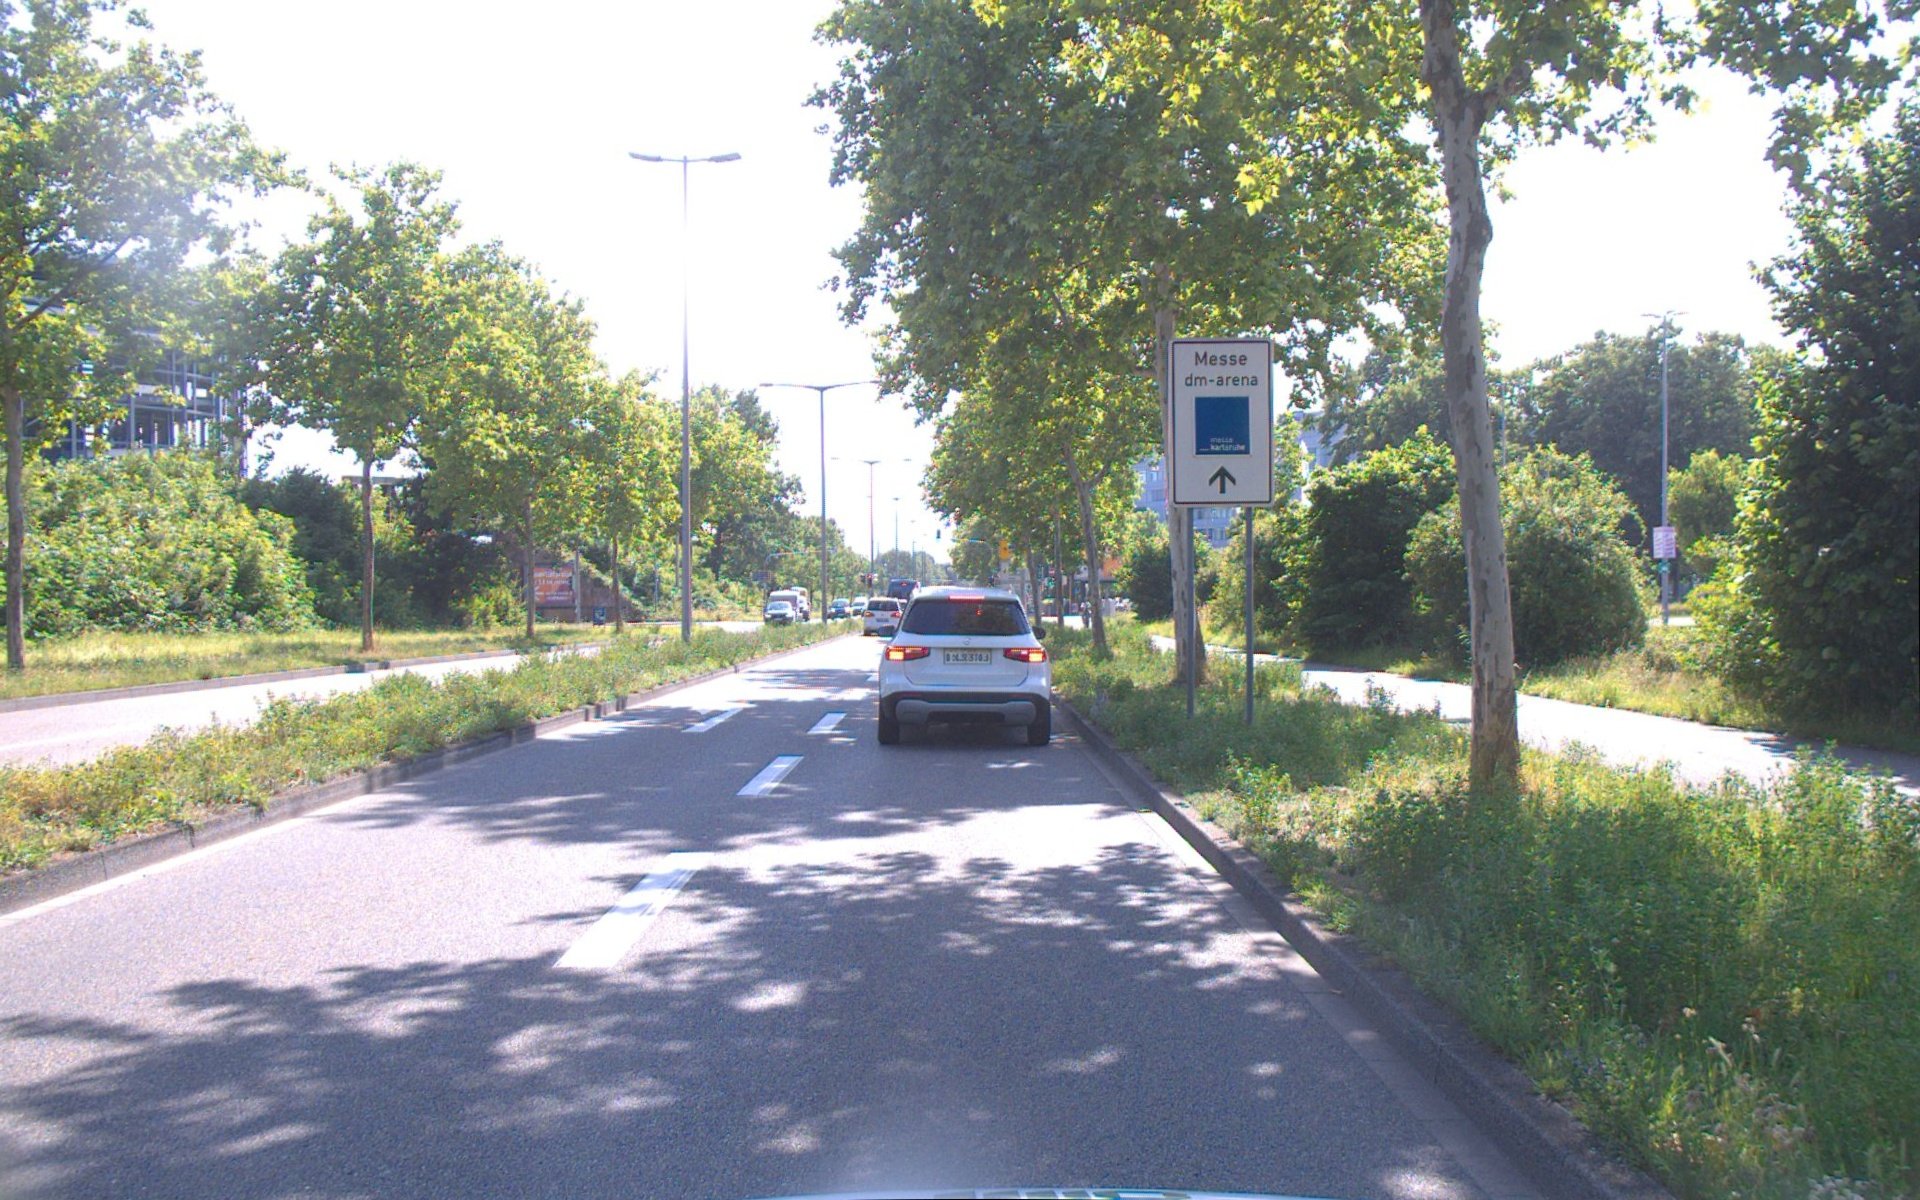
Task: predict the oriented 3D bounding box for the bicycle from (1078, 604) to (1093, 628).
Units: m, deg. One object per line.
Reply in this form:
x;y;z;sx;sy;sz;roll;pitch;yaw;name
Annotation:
7.200;0.911;94.862;0.708;1.321;2.095;1;-1;1;bicycle

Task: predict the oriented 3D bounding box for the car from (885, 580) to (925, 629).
-3.173;0.288;95.794;2.038;2.703;4.874;1;-1;1;car

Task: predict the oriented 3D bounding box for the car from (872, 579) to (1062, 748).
-0.034;0.644;18.353;1.817;1.635;3.997;1;0;-4;car

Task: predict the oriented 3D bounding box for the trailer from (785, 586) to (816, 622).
-12.807;0.337;133.041;1.841;2.792;4.828;1;-1;1;trailer

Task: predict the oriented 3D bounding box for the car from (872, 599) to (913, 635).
-3.214;0.803;79.583;1.735;1.676;4.084;0;-1;1;car

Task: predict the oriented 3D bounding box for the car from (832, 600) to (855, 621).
-10.305;0.954;146.832;1.695;1.841;4.232;1;-1;1;car

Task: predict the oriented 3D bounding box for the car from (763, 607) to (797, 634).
-11.371;1.284;104.693;1.680;1.650;4.361;0;-1;1;car

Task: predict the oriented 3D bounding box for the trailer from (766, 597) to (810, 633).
-11.358;1.016;109.672;2.261;2.305;5.538;0;-1;1;trailer

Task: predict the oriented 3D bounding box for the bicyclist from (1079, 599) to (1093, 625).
7.220;0.690;94.861;0.689;1.503;1.009;1;-1;0;bicyclist

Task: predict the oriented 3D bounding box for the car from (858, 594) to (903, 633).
-3.491;0.585;73.118;1.735;1.676;4.352;0;-1;1;car
